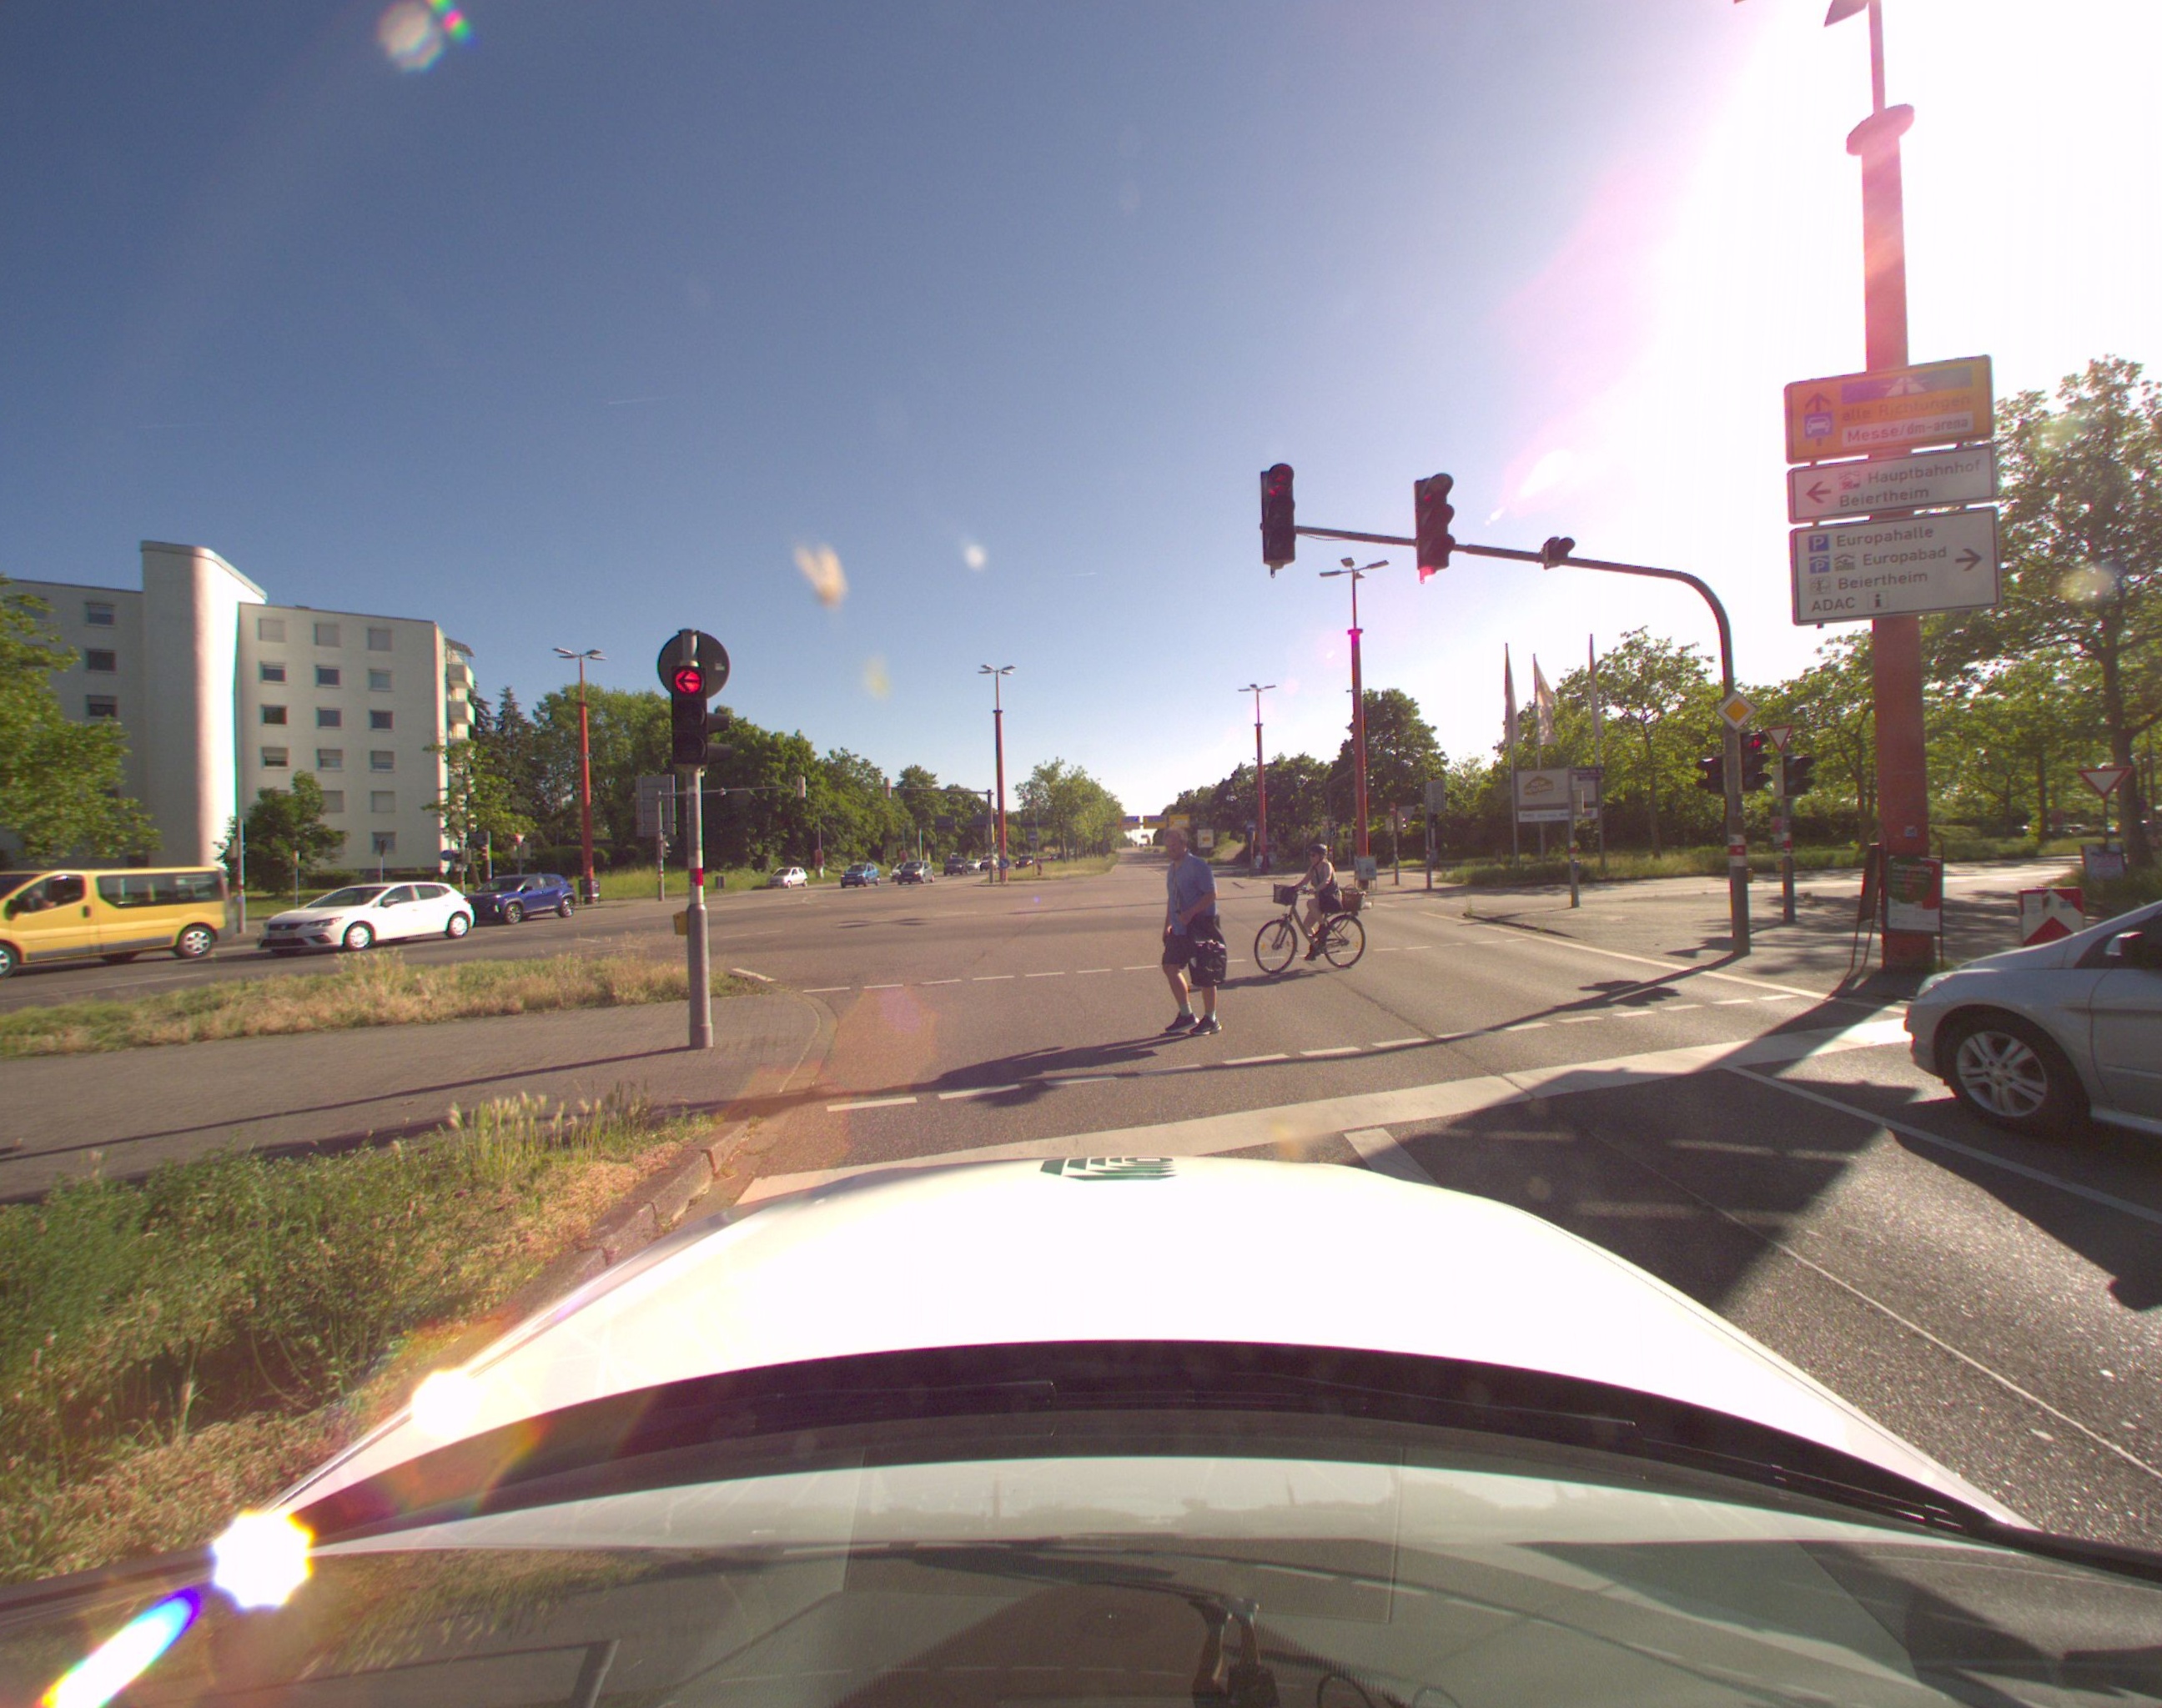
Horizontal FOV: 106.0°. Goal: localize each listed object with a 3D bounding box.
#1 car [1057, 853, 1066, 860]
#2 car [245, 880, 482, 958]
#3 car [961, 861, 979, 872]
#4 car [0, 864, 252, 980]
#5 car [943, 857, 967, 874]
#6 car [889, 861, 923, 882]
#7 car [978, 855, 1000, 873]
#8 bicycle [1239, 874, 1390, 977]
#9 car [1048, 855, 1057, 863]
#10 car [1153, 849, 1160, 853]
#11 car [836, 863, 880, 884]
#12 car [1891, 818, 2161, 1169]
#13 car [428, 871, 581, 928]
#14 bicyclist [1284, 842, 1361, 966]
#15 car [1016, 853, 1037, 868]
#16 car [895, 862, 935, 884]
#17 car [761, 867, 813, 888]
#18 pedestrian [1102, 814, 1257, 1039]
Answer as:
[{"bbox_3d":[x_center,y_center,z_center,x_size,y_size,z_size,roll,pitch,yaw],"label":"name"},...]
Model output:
[{"bbox_3d":[-4.694,0.545,197.054,1.812,1.629,4.002,-2,0,2],"label":"car"},{"bbox_3d":[-16.030,1.386,18.517,1.682,1.407,4.023,-2,0,2],"label":"car"},{"bbox_3d":[-14.266,1.619,104.626,1.733,1.243,3.613,-2,0,1],"label":"car"},{"bbox_3d":[-19.768,1.241,15.905,1.986,1.966,4.910,-2,0,2],"label":"car"},{"bbox_3d":[-12.365,1.093,80.018,1.733,1.612,3.613,-2,0,1],"label":"car"},{"bbox_3d":[-13.413,1.321,62.484,1.733,1.411,3.613,-2,0,1],"label":"car"},{"bbox_3d":[-11.125,1.192,98.563,1.886,2.026,5.224,-2,0,1],"label":"car"},{"bbox_3d":[3.113,0.910,10.834,1.952,1.195,0.686,-2,0,-26],"label":"bicycle"},{"bbox_3d":[-6.408,1.086,182.217,1.791,1.640,4.002,-2,0,2],"label":"car"},{"bbox_3d":[23.465,-0.949,253.417,1.787,1.409,4.001,0,-1,2],"label":"car"},{"bbox_3d":[-14.095,1.212,51.602,1.733,1.243,3.613,-2,0,1],"label":"car"},{"bbox_3d":[5.669,0.601,2.857,1.732,1.578,4.032,-2,0,3],"label":"car"},{"bbox_3d":[-18.846,1.431,26.870,1.986,1.574,4.108,-2,0,2],"label":"car"},{"bbox_3d":[3.219,0.645,10.889,0.664,1.584,0.667,-2,0,-26],"label":"bicyclist"},{"bbox_3d":[-5.748,0.706,85.970,1.812,1.508,4.002,-2,0,2],"label":"car"},{"bbox_3d":[-10.608,1.190,52.300,1.733,1.243,3.613,-2,0,1],"label":"car"},{"bbox_3d":[-21.751,1.712,60.412,1.739,1.398,4.014,-2,0,12],"label":"car"},{"bbox_3d":[0.838,0.580,7.147,0.988,1.794,0.948,-1,0,-20],"label":"pedestrian"}]
